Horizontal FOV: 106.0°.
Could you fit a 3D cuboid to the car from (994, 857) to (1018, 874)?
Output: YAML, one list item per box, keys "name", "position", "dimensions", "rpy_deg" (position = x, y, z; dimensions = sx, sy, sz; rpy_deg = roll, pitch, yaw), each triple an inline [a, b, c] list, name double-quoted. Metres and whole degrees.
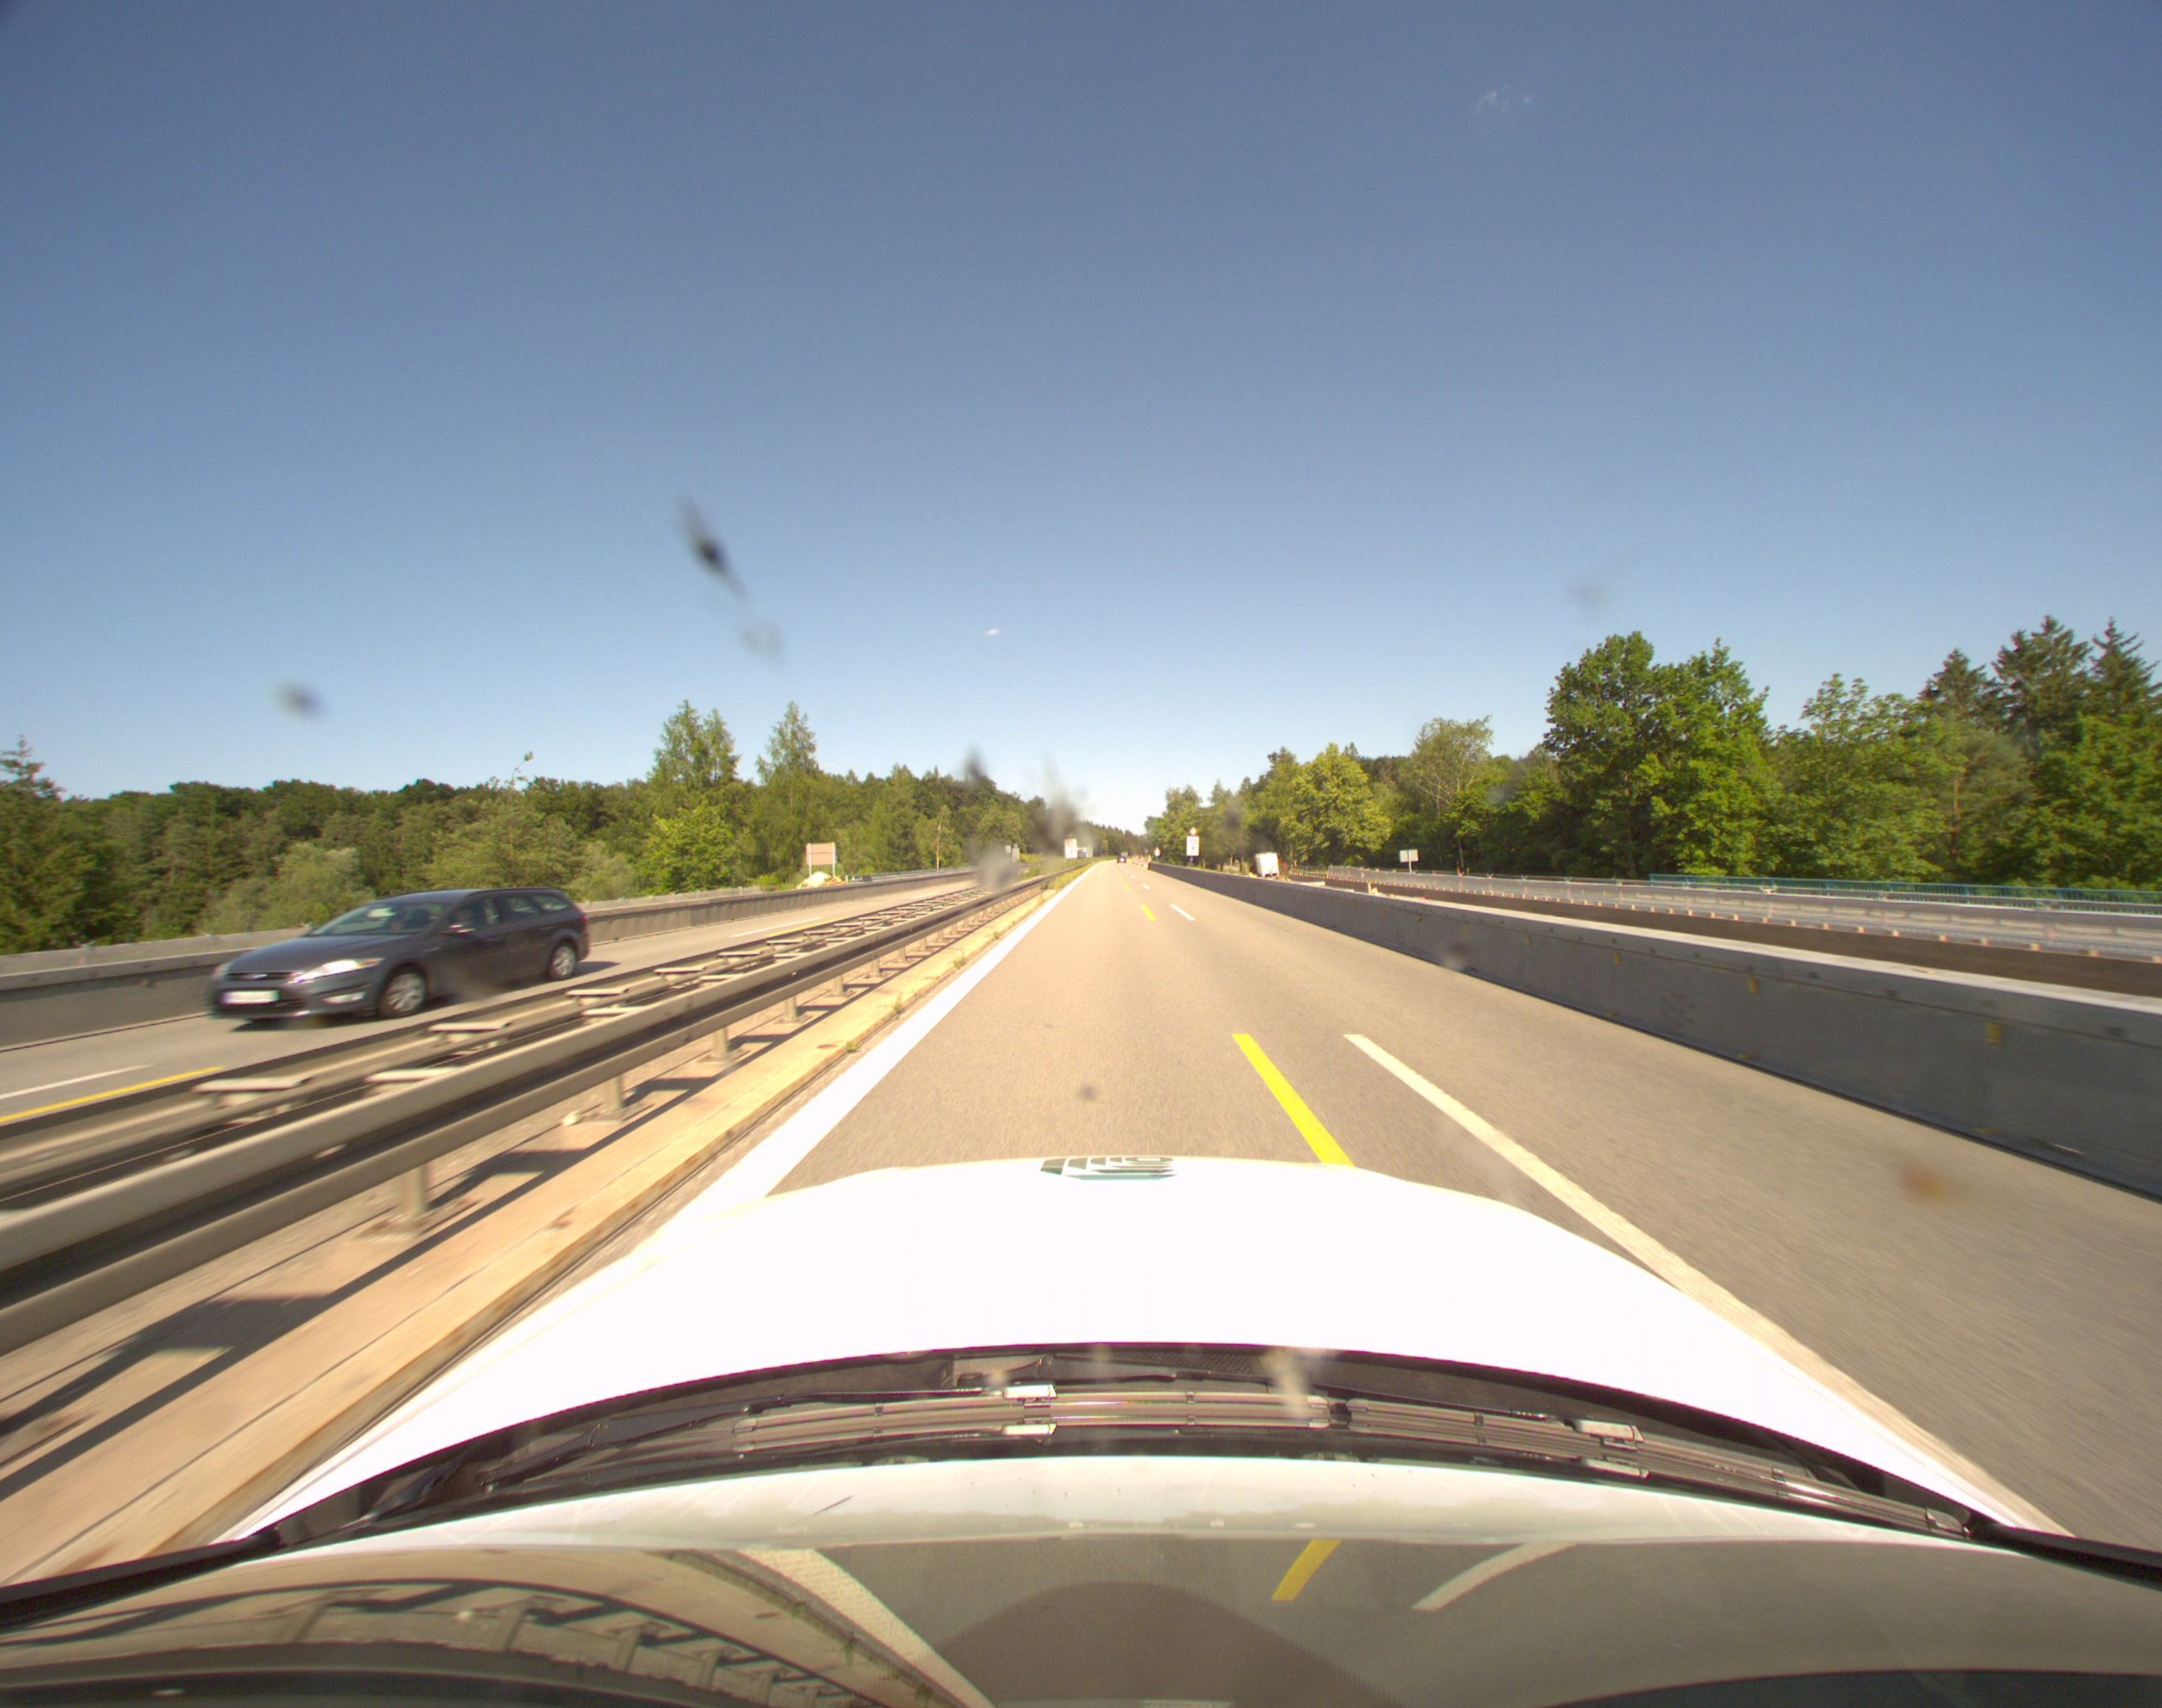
- name: "car"
  position: [-7.170, 1.095, 78.304]
  dimensions: [1.737, 1.466, 4.295]
  rpy_deg: [-2, 0, 1]

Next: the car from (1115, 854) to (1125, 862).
- name: "car"
  position: [7.952, 0.770, 166.396]
  dimensions: [1.737, 1.466, 4.295]
  rpy_deg: [-2, 0, 2]

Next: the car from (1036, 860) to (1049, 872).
- name: "car"
  position: [-5.614, 1.745, 119.977]
  dimensions: [1.521, 1.562, 3.455]
  rpy_deg: [-4, -2, 1]

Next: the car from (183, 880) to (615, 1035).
- name: "car"
  position: [-8.845, 1.209, 11.336]
  dimensions: [1.737, 1.466, 4.911]
  rpy_deg: [-2, 0, 1]
